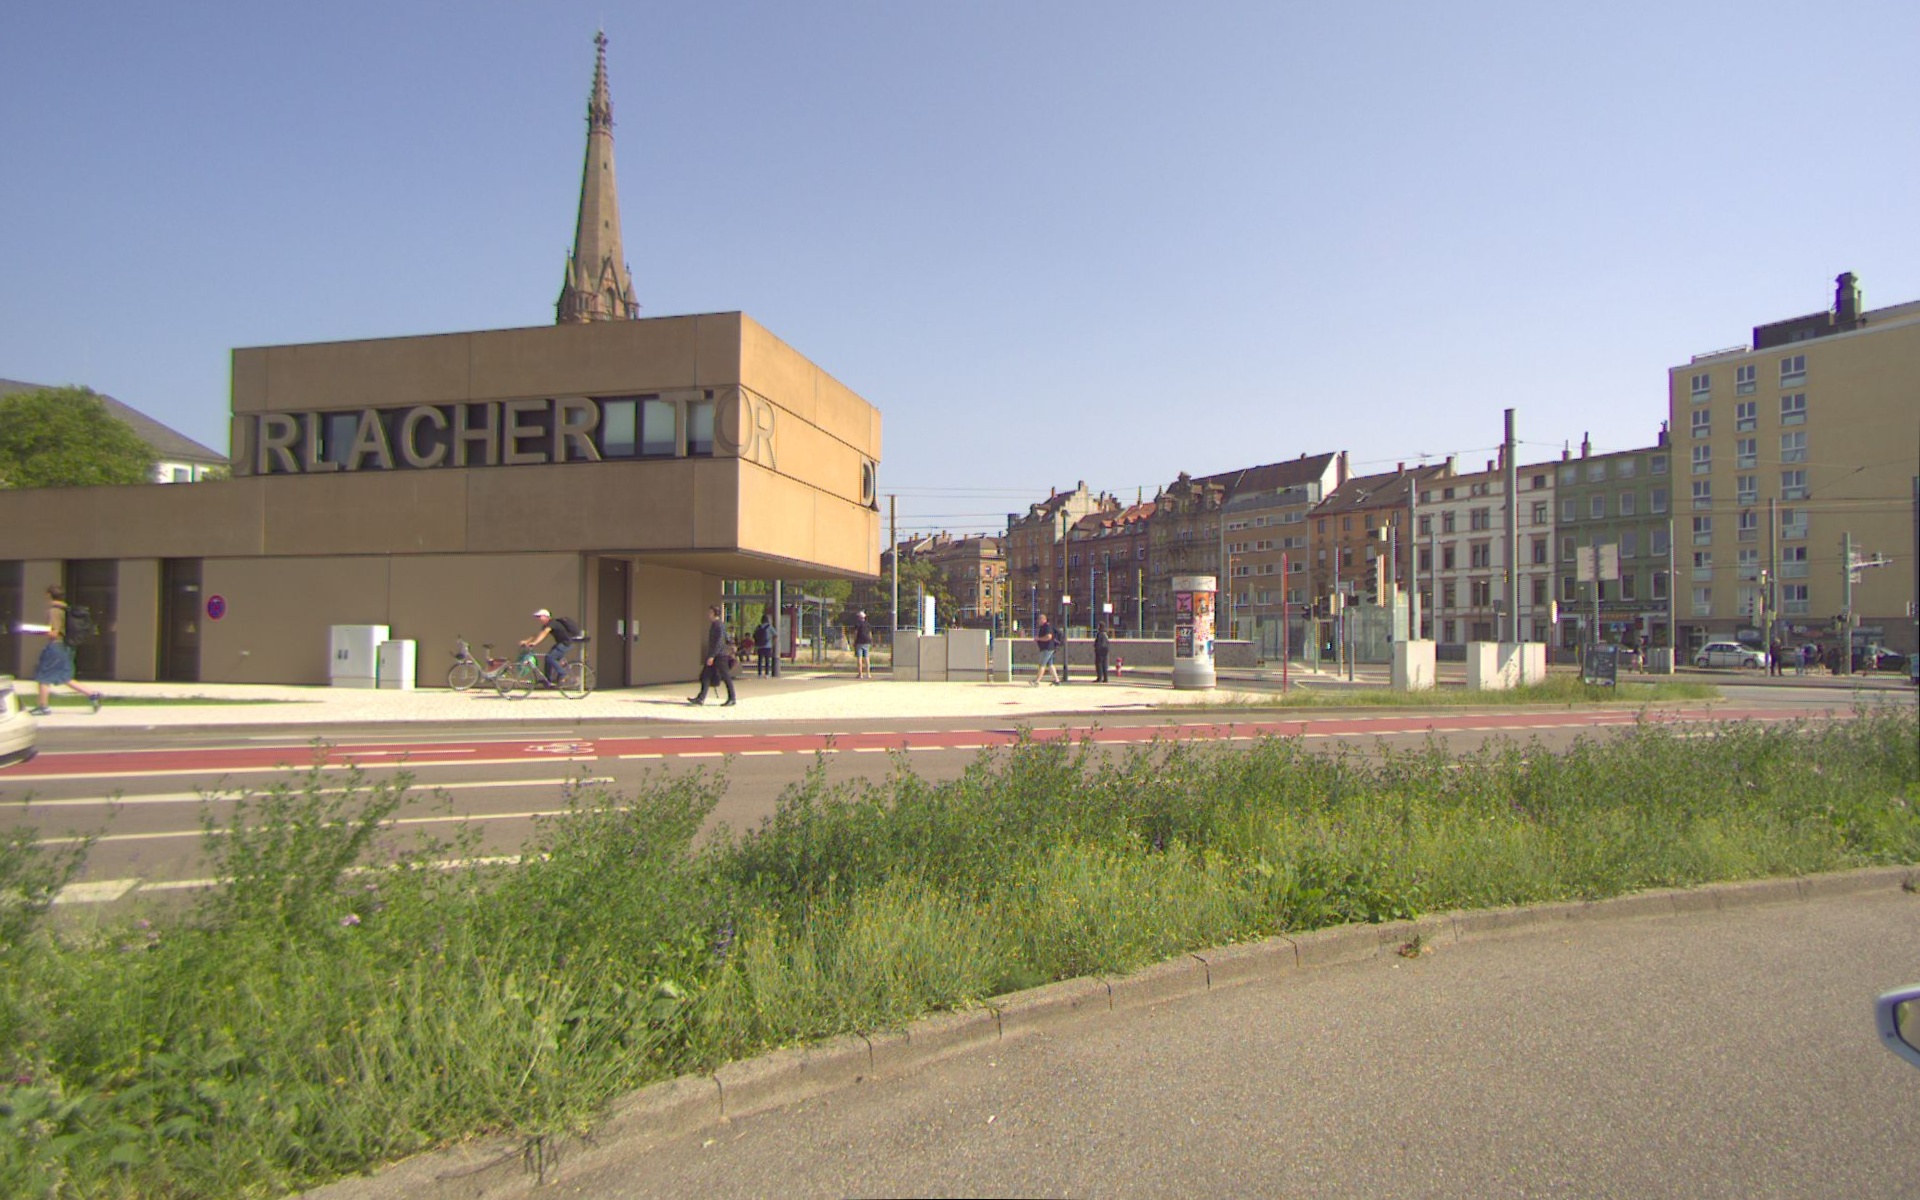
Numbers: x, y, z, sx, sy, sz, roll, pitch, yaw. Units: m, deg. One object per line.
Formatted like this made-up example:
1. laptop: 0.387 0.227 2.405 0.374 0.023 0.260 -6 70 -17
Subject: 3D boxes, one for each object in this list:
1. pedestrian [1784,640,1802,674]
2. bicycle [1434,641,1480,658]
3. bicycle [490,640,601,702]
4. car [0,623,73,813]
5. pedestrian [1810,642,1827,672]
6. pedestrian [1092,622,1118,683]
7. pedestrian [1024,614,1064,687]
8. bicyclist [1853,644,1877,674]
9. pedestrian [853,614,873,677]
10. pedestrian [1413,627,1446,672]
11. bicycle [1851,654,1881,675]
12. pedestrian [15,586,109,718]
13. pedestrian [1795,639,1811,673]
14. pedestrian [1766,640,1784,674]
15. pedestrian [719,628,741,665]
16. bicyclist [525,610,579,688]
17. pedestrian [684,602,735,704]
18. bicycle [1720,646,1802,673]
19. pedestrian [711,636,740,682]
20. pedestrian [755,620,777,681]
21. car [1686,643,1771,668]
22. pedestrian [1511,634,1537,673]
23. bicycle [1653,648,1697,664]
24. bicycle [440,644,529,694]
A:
1. pedestrian: 42.449 2.893 51.205 0.538 1.707 0.454 -1 0 -18
2. bicycle: 41.301 4.108 83.539 0.765 1.366 3.512 -1 -1 -30
3. bicycle: -7.586 1.306 18.413 1.827 1.078 0.560 3 -1 -26
4. car: -9.375 0.809 6.718 4.752 1.379 1.837 2 -1 -24
5. pedestrian: 43.955 2.934 51.429 0.489 1.507 0.440 -2 0 22
6. pedestrian: 3.907 1.412 27.057 0.499 1.601 0.497 -2 0 -15
7. pedestrian: 2.179 1.296 25.938 0.878 1.843 0.882 -2 0 11
8. bicyclist: 44.347 2.899 49.226 0.683 1.453 0.721 2 -2 -33
9. pedestrian: -2.862 1.343 29.687 0.547 1.843 0.392 -2 0 -4
10. pedestrian: 22.221 2.338 47.510 1.009 2.040 0.954 -1 0 -29
11. bicycle: 44.455 3.160 49.292 1.714 0.997 0.723 2 -2 -34
12. pedestrian: -12.689 0.718 14.201 0.668 1.783 0.875 2 0 40
13. pedestrian: 43.318 2.887 51.605 0.447 1.707 0.440 -2 0 22
14. pedestrian: 41.754 2.901 51.465 0.537 1.707 0.455 -2 0 -5
15. pedestrian: -10.150 2.037 44.319 0.782 1.612 0.692 1 -2 0
16. bicyclist: -7.498 0.877 18.449 0.871 1.380 0.560 -1 0 -25
17. pedestrian: -4.603 0.950 18.478 0.834 1.802 0.874 -2 0 -14
18. bicycle: 51.698 3.842 64.919 1.182 1.572 3.967 -1 -1 -31
19. pedestrian: -6.198 1.556 26.589 0.513 1.187 0.596 0 -2 13
20. pedestrian: -5.642 1.463 29.227 0.523 1.718 0.607 -2 0 -4
21. car: 45.435 3.253 59.466 1.568 1.411 3.721 2 -2 -29
22. pedestrian: 27.247 2.553 48.552 0.847 1.810 0.772 -2 1 -32
23. bicycle: 49.751 3.901 69.944 2.412 1.131 0.737 -2 -1 32
24. bicycle: -9.634 1.389 20.365 1.580 0.968 0.661 0 0 13
